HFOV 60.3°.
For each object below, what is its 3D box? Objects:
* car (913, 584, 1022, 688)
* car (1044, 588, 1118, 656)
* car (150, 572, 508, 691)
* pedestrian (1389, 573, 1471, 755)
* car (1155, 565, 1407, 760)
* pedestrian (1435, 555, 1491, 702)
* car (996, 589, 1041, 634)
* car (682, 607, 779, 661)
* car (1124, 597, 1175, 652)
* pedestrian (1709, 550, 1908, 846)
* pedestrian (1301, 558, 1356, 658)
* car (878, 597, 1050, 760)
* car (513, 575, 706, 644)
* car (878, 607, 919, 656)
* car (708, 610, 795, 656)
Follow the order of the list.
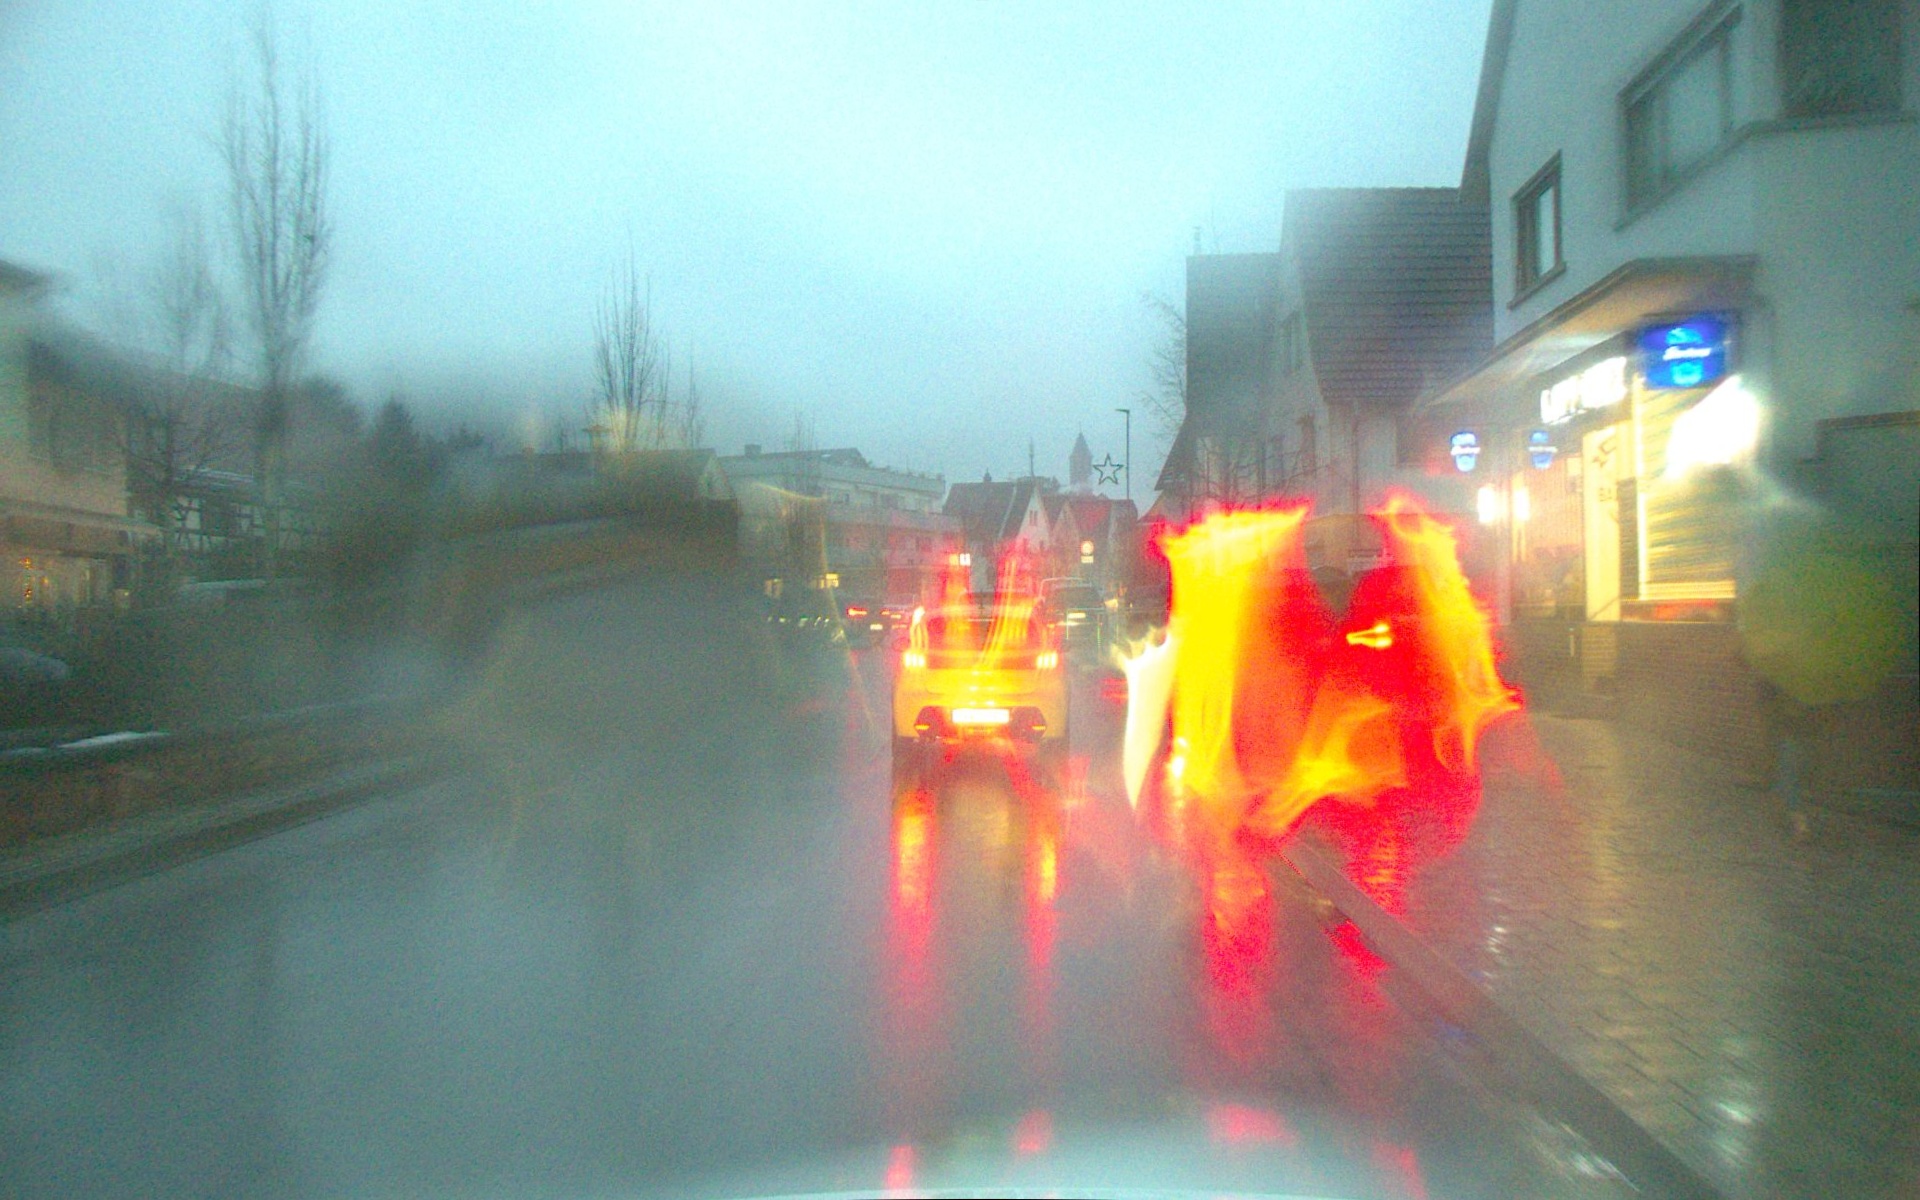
[{"bbox_3d":[0.188,0.580,28.463,1.729,1.657,3.587,1,0,2],"label":"car"},{"bbox_3d":[3.536,0.651,48.877,1.956,1.897,4.083,0,-1,1],"label":"car"},{"bbox_3d":[-9.274,0.464,24.619,4.532,1.697,1.999,0,-1,-2],"label":"car"},{"bbox_3d":[4.601,0.615,16.228,0.561,1.729,0.653,-2,-1,2],"label":"pedestrian"},{"bbox_3d":[3.127,0.569,16.959,1.700,1.722,4.386,-1,0,0],"label":"car"},{"bbox_3d":[6.068,0.345,19.975,0.605,1.757,0.502,0,-3,12],"label":"pedestrian"},{"bbox_3d":[2.713,0.558,77.870,1.953,2.049,3.999,0,-1,0],"label":"car"},{"bbox_3d":[-10.057,1.502,72.316,4.312,2.291,1.986,-1,-3,45],"label":"car"},{"bbox_3d":[8.432,1.116,73.737,1.952,2.288,4.000,1,-2,2],"label":"car"},{"bbox_3d":[4.979,0.538,9.749,0.607,1.655,0.903,0,1,-13],"label":"pedestrian"},{"bbox_3d":[5.785,0.111,25.999,0.607,1.542,0.732,0,1,-13],"label":"pedestrian"},{"bbox_3d":[0.053,0.710,16.418,1.531,1.437,3.018,1,0,0],"label":"car"},{"bbox_3d":[-10.278,0.262,48.557,5.281,1.849,1.713,1,0,14],"label":"car"},{"bbox_3d":[-2.941,1.530,79.692,1.881,2.254,3.973,1,-2,-1],"label":"car"},{"bbox_3d":[-9.577,1.531,75.840,4.099,2.011,1.809,-1,-3,45],"label":"car"}]
